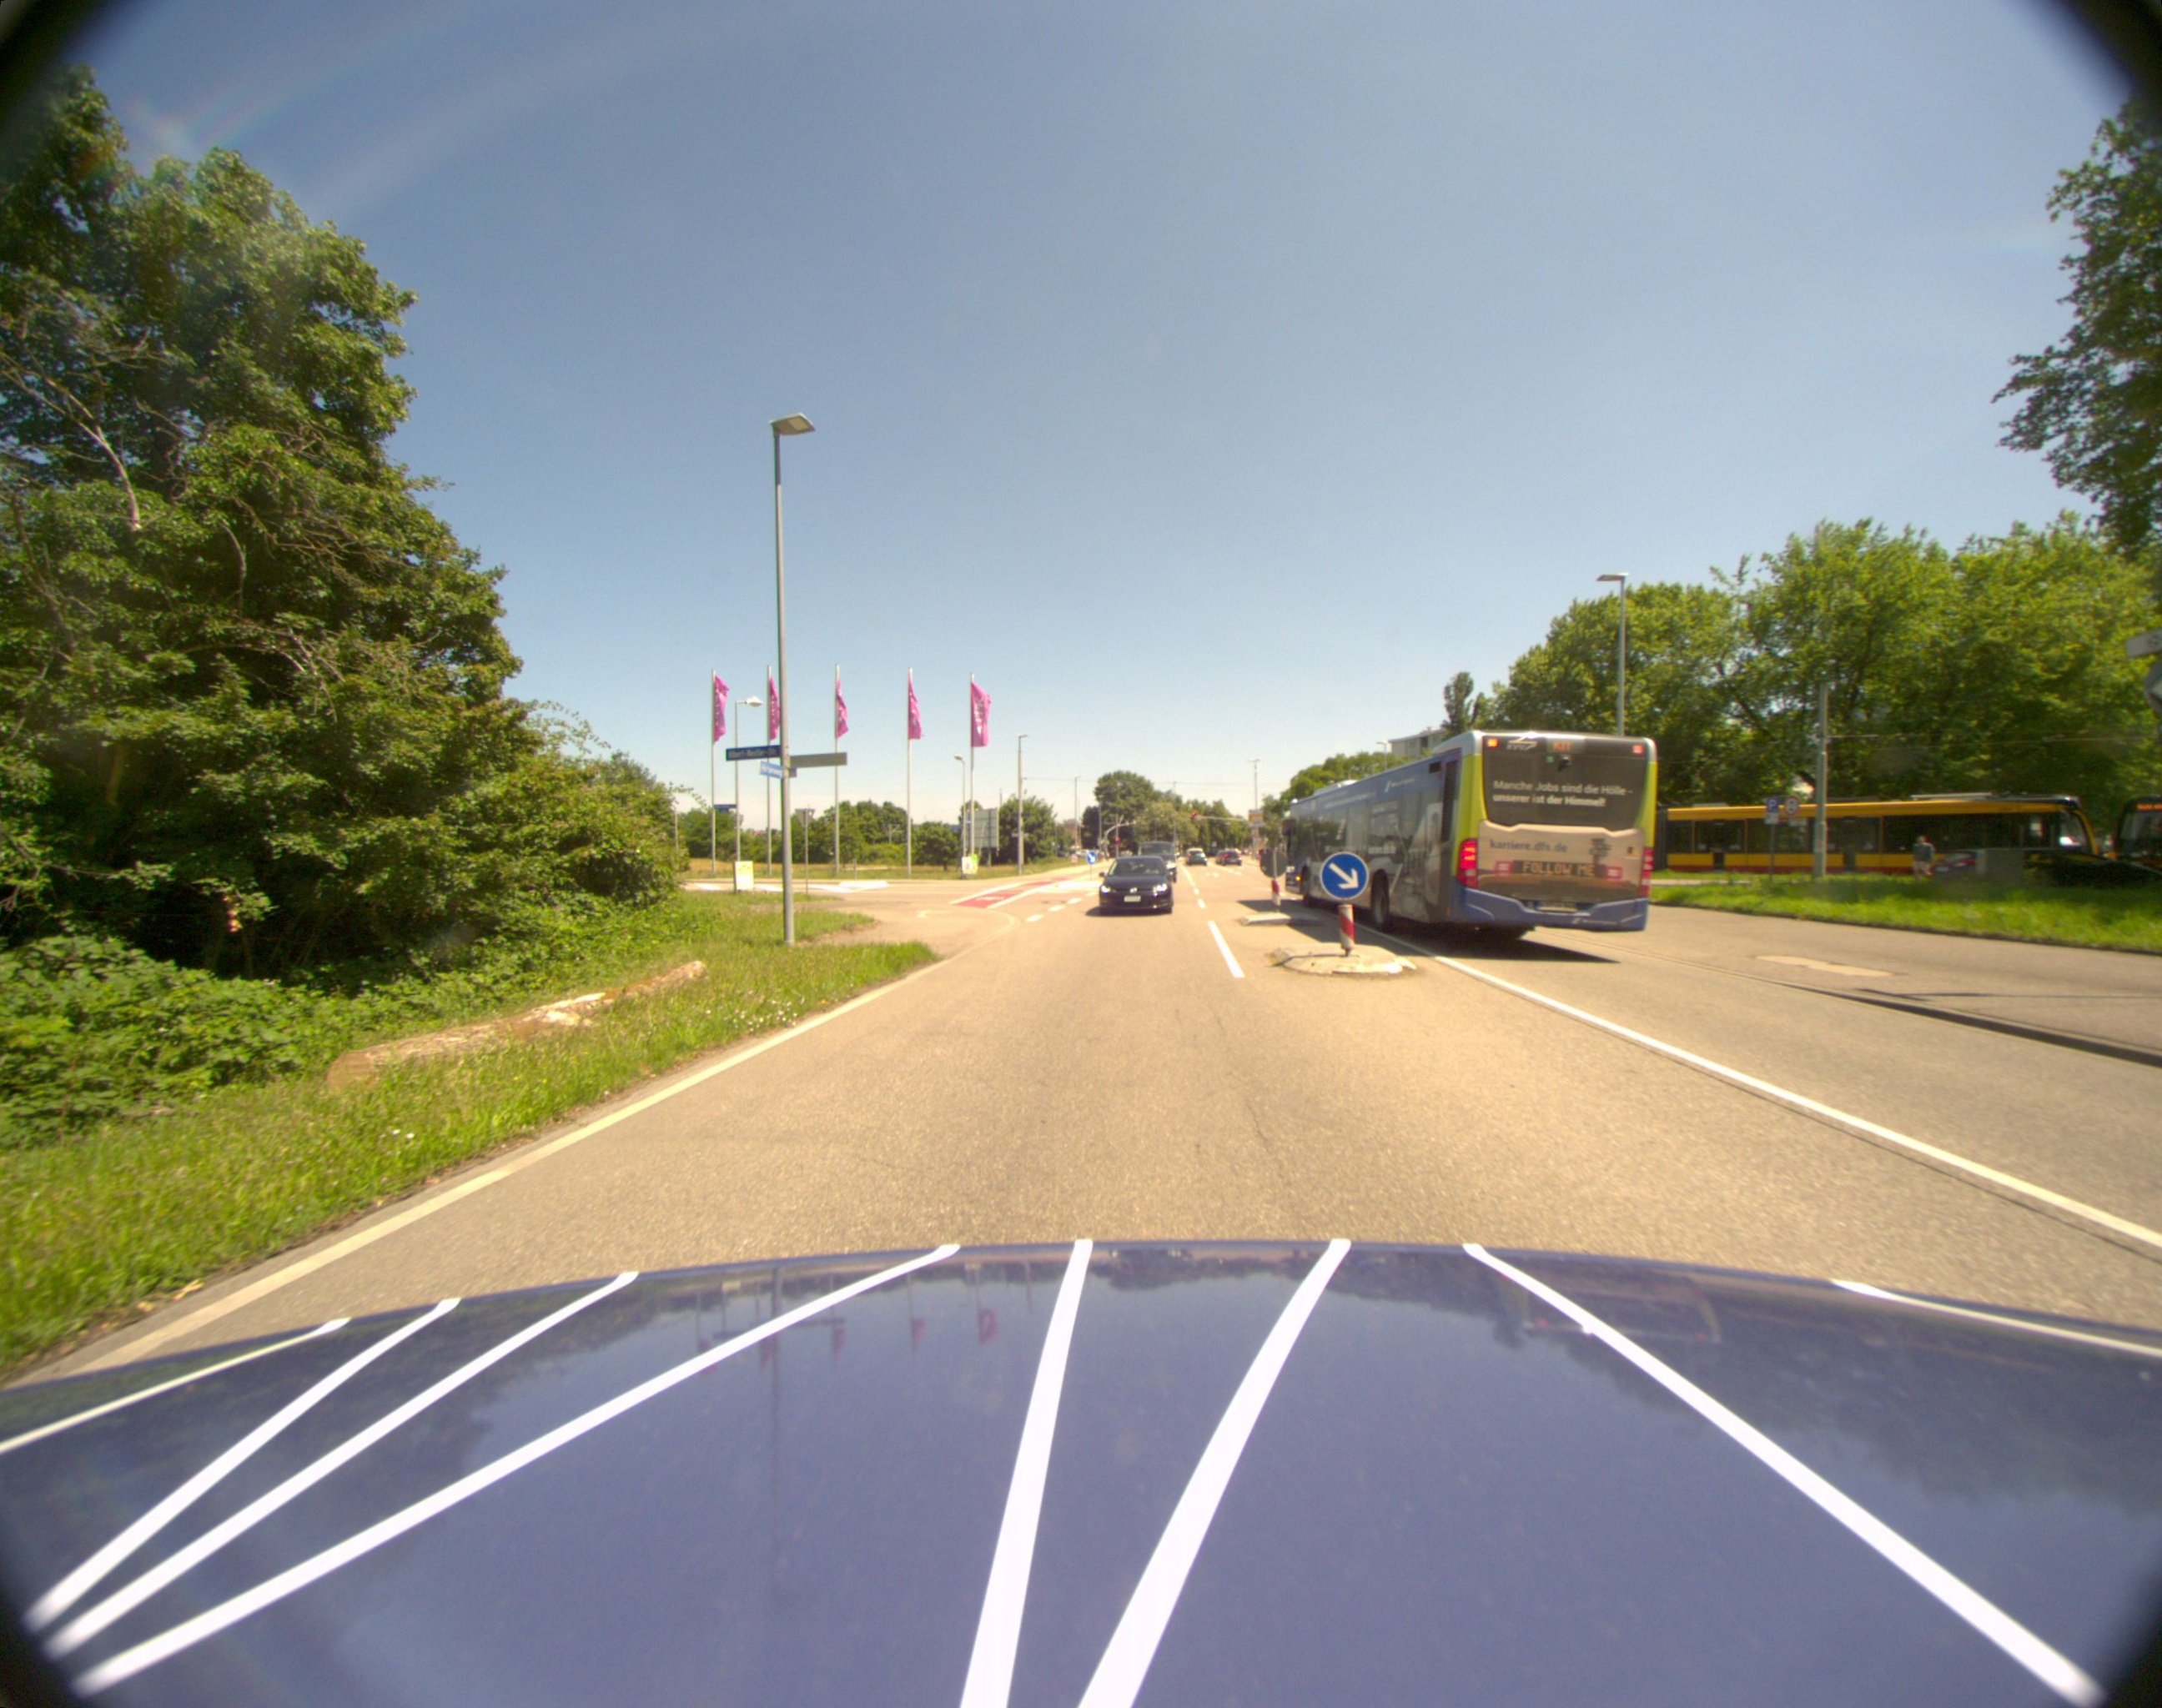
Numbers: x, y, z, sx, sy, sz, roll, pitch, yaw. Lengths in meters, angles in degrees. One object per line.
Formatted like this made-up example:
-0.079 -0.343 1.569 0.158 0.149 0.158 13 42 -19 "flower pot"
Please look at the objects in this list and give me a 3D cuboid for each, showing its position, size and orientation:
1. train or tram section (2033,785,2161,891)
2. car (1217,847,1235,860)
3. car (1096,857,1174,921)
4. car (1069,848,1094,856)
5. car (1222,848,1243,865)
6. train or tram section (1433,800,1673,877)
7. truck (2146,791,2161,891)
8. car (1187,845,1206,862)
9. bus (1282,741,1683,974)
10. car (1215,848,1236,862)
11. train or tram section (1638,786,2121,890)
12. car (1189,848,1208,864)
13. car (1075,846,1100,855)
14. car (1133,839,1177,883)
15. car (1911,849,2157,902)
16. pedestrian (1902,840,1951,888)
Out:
44.615 -0.479 28.120 14.180 3.737 3.026 1 1 3 "train or tram section"
16.775 -0.088 87.994 1.794 1.447 4.415 0 1 8 "car"
1.484 0.829 19.493 1.707 1.396 4.056 -1 1 8 "car"
0.092 -0.414 144.645 4.399 1.567 1.879 0 0 38 "car"
14.084 0.205 70.574 1.625 1.447 3.503 1 1 7 "car"
25.631 -0.772 42.438 3.030 3.737 11.592 1 0 -25 "train or tram section"
34.330 -0.350 19.910 7.326 2.893 2.570 0 2 17 "truck"
12.251 -0.031 81.003 1.815 1.713 4.833 -1 0 7 "car"
6.806 -0.014 15.908 2.755 3.028 11.940 0 1 4 "bus"
15.021 0.095 79.023 1.763 1.448 4.287 0 0 6 "car"
32.990 -0.667 33.000 14.005 3.737 3.033 1 1 39 "train or tram section"
11.306 0.171 73.378 1.726 1.454 3.992 -1 0 9 "car"
1.166 -0.680 138.523 4.399 1.567 1.879 0 0 38 "car"
3.574 0.300 36.486 1.940 1.920 4.848 -1 1 6 "car"
27.690 0.593 22.257 4.304 1.409 1.668 0 2 16 "car"
30.352 0.351 27.301 0.809 1.699 0.855 -1 0 5 "pedestrian"
